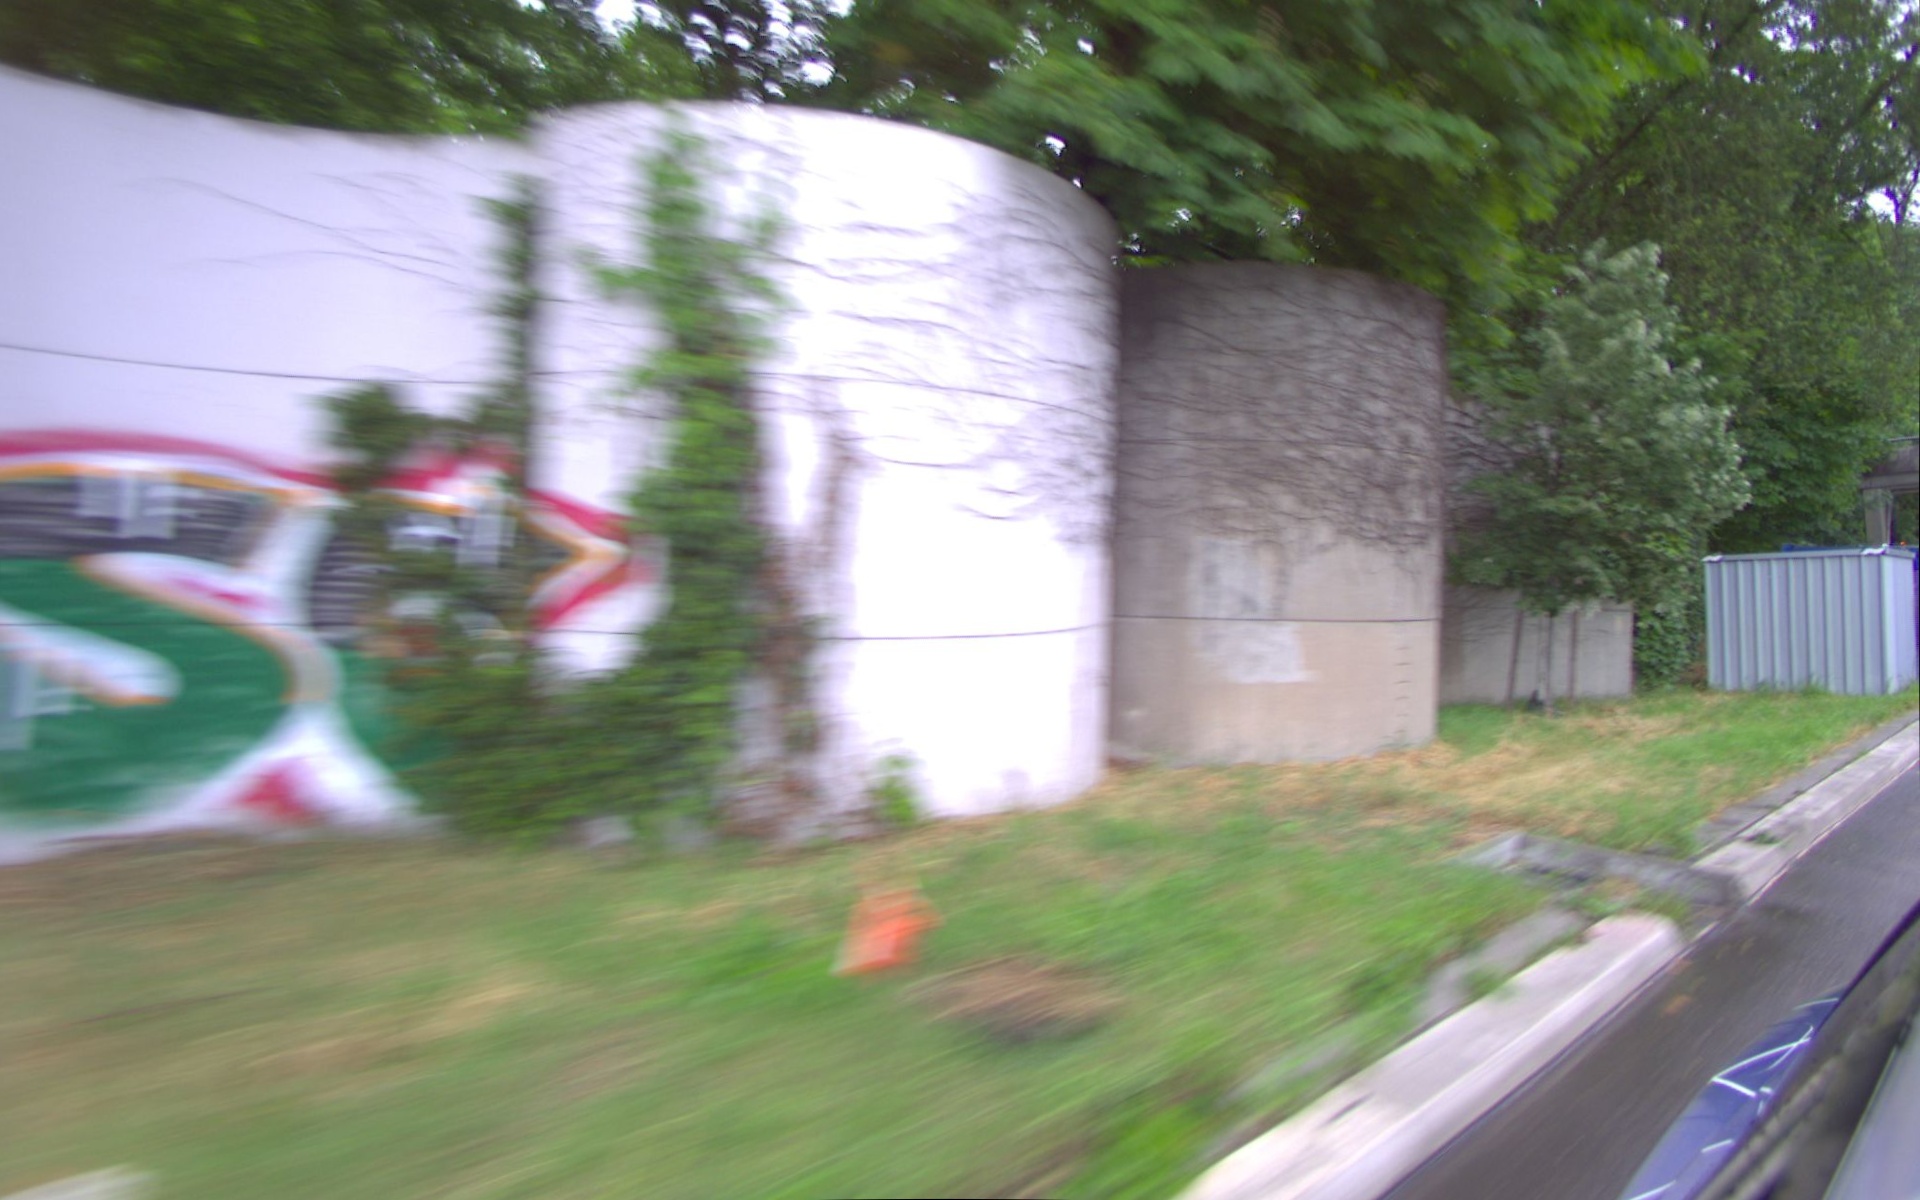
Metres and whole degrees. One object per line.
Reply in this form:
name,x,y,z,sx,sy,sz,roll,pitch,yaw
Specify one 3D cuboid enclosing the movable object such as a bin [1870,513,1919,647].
movable object such as a bin,31.039,-0.611,31.915,6.002,3.990,2.885,0,0,-42
